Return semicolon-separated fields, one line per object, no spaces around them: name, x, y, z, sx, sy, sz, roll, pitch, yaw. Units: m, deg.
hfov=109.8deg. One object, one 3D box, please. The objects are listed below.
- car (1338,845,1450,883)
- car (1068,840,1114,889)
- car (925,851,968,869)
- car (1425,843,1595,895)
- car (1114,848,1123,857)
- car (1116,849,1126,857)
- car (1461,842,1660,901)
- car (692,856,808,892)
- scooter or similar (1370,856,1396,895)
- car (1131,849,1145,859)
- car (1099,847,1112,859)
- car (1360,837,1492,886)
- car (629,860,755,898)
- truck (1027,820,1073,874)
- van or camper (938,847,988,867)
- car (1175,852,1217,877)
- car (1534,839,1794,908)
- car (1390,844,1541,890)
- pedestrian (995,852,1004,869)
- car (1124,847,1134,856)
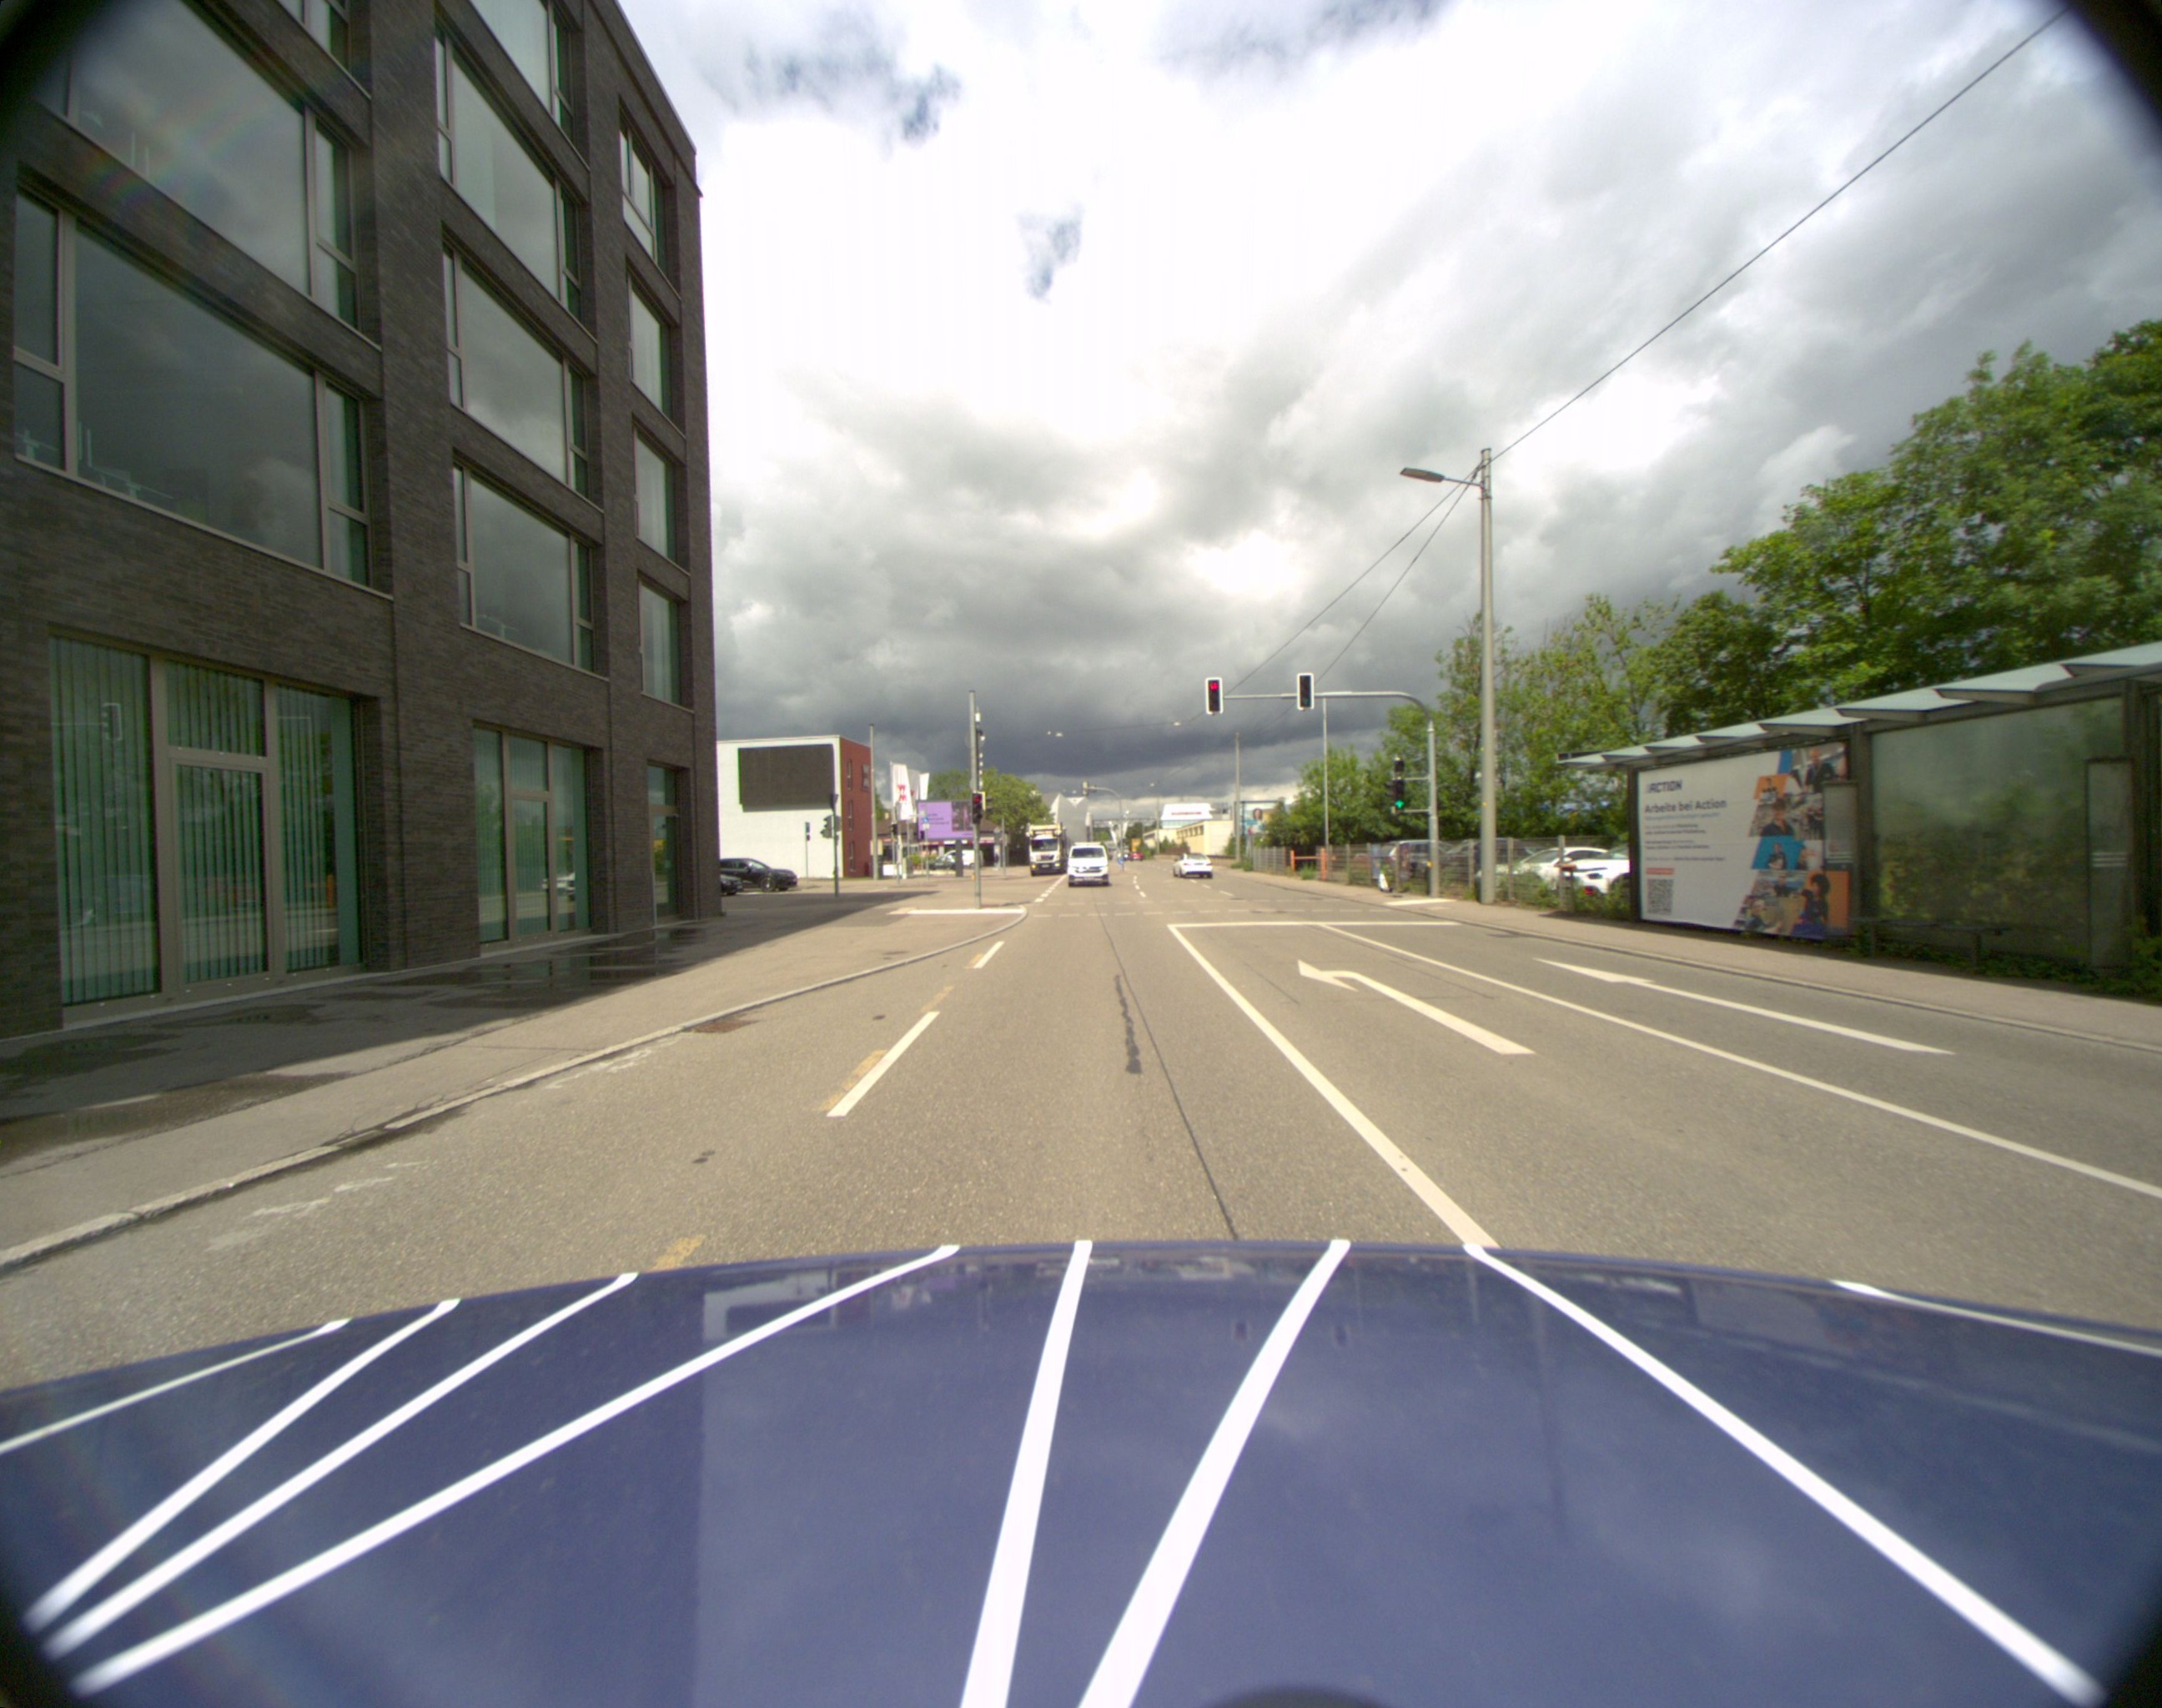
car;12.945;0.390;31.564;3.864;1.411;1.901;-1;1;-8
car;0.524;0.419;34.945;1.935;2.078;4.208;-1;1;3
car;-12.701;0.555;72.021;3.675;1.477;1.762;3;1;3
car;13.046;0.430;23.281;4.114;1.411;1.999;-1;1;-3
car;9.333;-0.373;190.188;1.896;2.002;5.650;-2;0;1
car;8.951;-0.268;170.075;1.861;1.608;4.000;-2;0;1
car;12.701;0.446;20.323;4.113;1.411;1.916;-1;1;1
car;-15.901;0.937;36.679;4.651;1.609;2.000;-1;0;0
scooter or similar;9.778;0.671;24.639;0.424;1.203;1.126;-3;1;5
car;8.800;-0.026;118.489;1.935;1.590;4.153;0;0;1
car;3.738;-0.153;118.437;1.870;1.782;4.207;-1;0;0
car;12.992;0.270;28.784;4.114;1.724;1.999;-1;1;-4
car;-17.192;1.081;33.733;4.535;1.484;2.000;-1;1;1
truck;-2.274;-0.576;60.245;2.836;3.890;10.365;-1;1;2
van or camper;-12.406;0.307;80.020;4.909;1.946;2.212;1;2;1
car;6.615;0.588;44.059;1.801;1.368;4.224;0;0;0
car;13.074;0.414;17.279;4.321;1.411;2.025;-1;1;2
car;12.900;0.421;25.690;4.113;1.411;2.000;-1;1;0
pedestrian;-8.340;0.650;78.139;0.714;1.698;0.739;5;2;1
car;9.463;-0.529;150.675;1.861;1.608;4.000;-2;0;1
